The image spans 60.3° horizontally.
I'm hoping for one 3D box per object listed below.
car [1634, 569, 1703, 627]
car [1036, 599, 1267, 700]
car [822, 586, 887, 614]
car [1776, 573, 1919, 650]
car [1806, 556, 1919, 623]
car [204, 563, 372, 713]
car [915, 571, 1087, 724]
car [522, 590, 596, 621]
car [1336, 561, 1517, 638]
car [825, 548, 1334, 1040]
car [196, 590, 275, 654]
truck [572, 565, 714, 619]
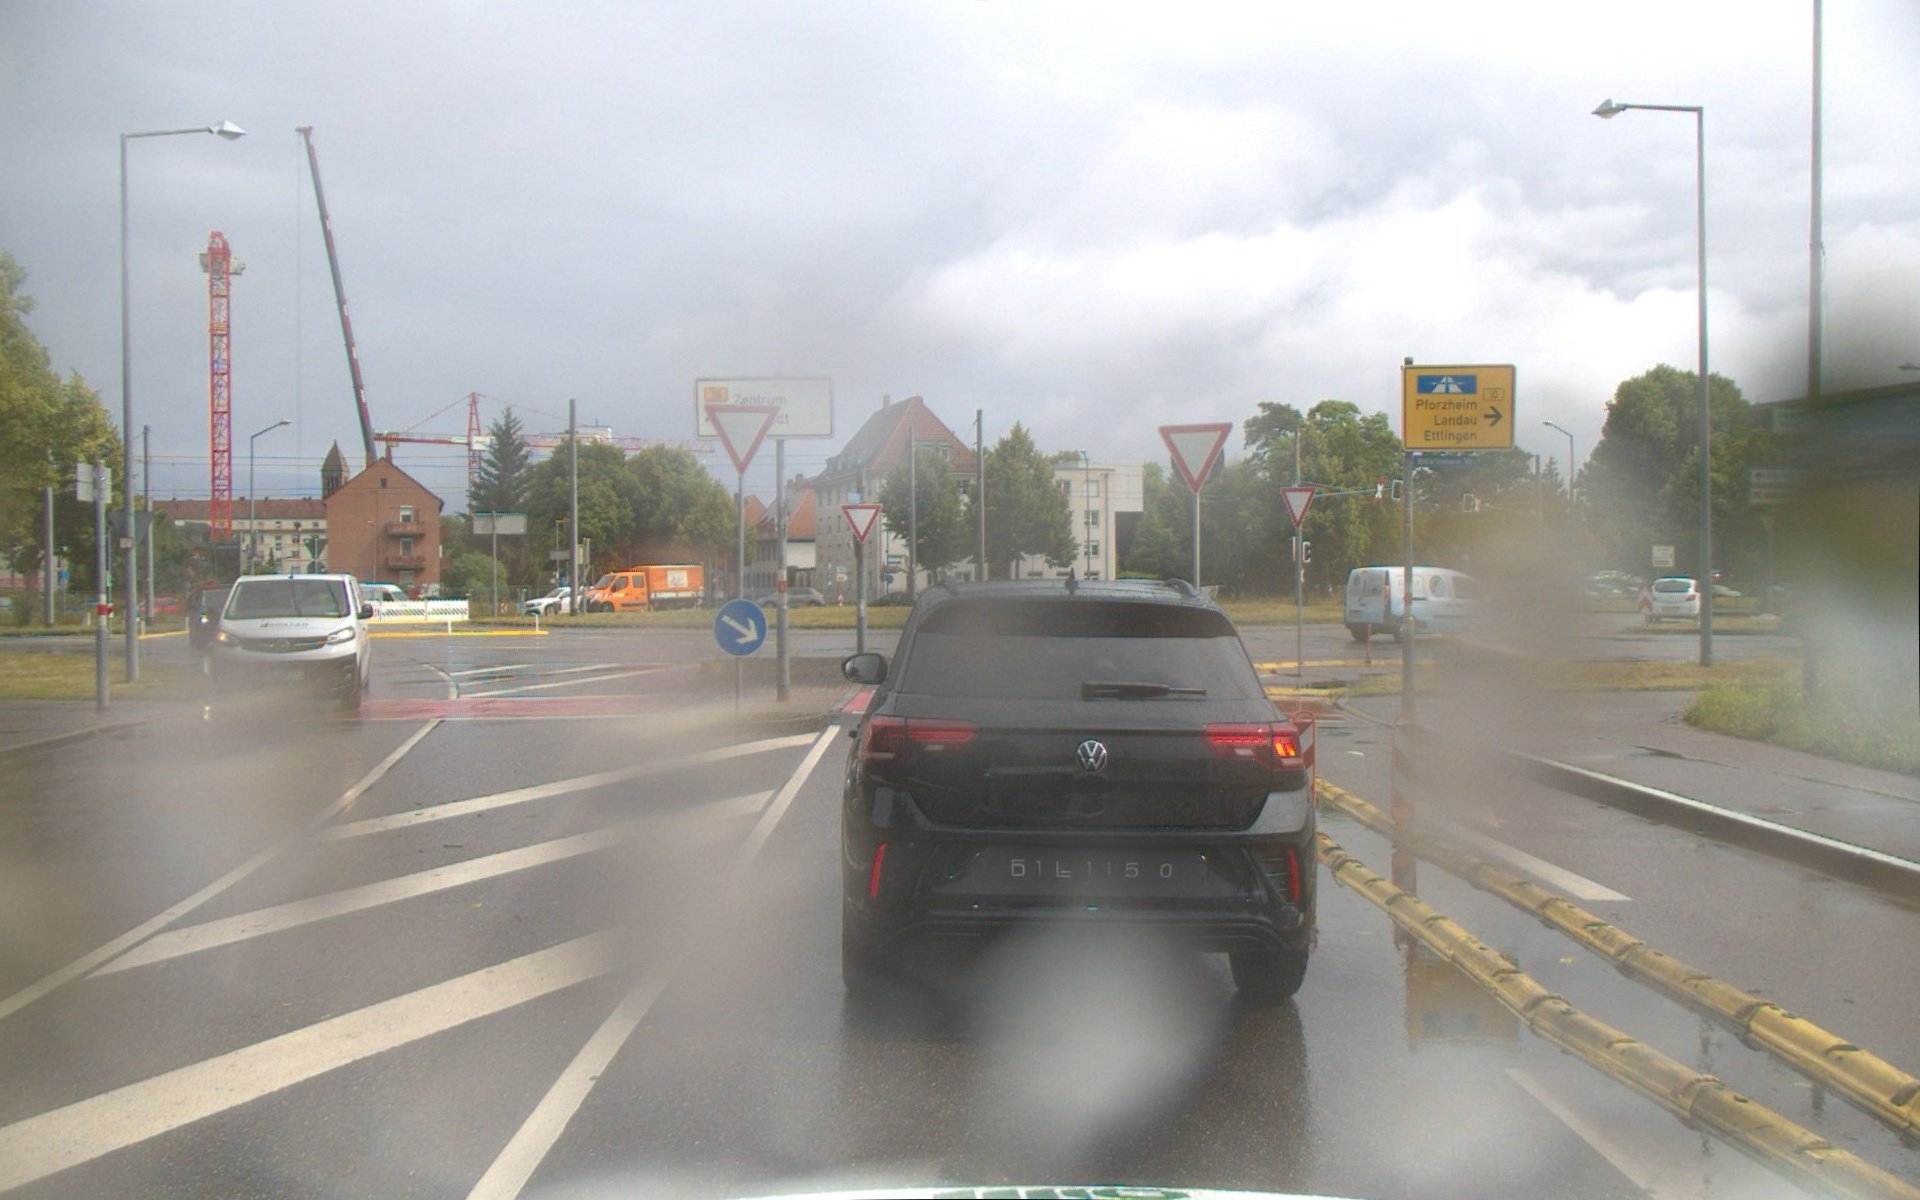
[{"bbox_3d":[23.869,-0.079,55.639,1.954,1.862,3.997,-1,0,25],"label":"car"},{"bbox_3d":[3.739,0.887,31.907,4.311,1.755,1.973,-1,0,-38],"label":"car"},{"bbox_3d":[-6.221,-0.005,97.484,3.797,1.612,1.565,0,0,-6],"label":"car"},{"bbox_3d":[20.609,0.248,37.196,3.859,1.673,1.671,0,0,19],"label":"car"},{"bbox_3d":[23.082,-0.257,40.217,4.299,1.575,1.870,0,0,21],"label":"car"},{"bbox_3d":[-9.575,0.479,23.907,1.859,1.909,5.106,-1,0,-18],"label":"car"},{"bbox_3d":[0.366,0.460,18.563,1.700,1.540,3.602,0,0,-2],"label":"car"},{"bbox_3d":[-20.958,0.268,86.596,3.474,1.612,1.544,-1,1,-40],"label":"car"},{"bbox_3d":[11.702,-0.042,41.462,4.338,1.841,1.853,0,0,-28],"label":"car"},{"bbox_3d":[0.298,0.633,7.274,1.674,1.601,3.680,0,0,-3],"label":"car"},{"bbox_3d":[-20.632,0.597,47.015,1.715,1.693,4.070,-2,1,-28],"label":"car"},{"bbox_3d":[-16.371,-0.440,85.786,7.017,2.696,2.298,-1,0,-38],"label":"truck"}]
